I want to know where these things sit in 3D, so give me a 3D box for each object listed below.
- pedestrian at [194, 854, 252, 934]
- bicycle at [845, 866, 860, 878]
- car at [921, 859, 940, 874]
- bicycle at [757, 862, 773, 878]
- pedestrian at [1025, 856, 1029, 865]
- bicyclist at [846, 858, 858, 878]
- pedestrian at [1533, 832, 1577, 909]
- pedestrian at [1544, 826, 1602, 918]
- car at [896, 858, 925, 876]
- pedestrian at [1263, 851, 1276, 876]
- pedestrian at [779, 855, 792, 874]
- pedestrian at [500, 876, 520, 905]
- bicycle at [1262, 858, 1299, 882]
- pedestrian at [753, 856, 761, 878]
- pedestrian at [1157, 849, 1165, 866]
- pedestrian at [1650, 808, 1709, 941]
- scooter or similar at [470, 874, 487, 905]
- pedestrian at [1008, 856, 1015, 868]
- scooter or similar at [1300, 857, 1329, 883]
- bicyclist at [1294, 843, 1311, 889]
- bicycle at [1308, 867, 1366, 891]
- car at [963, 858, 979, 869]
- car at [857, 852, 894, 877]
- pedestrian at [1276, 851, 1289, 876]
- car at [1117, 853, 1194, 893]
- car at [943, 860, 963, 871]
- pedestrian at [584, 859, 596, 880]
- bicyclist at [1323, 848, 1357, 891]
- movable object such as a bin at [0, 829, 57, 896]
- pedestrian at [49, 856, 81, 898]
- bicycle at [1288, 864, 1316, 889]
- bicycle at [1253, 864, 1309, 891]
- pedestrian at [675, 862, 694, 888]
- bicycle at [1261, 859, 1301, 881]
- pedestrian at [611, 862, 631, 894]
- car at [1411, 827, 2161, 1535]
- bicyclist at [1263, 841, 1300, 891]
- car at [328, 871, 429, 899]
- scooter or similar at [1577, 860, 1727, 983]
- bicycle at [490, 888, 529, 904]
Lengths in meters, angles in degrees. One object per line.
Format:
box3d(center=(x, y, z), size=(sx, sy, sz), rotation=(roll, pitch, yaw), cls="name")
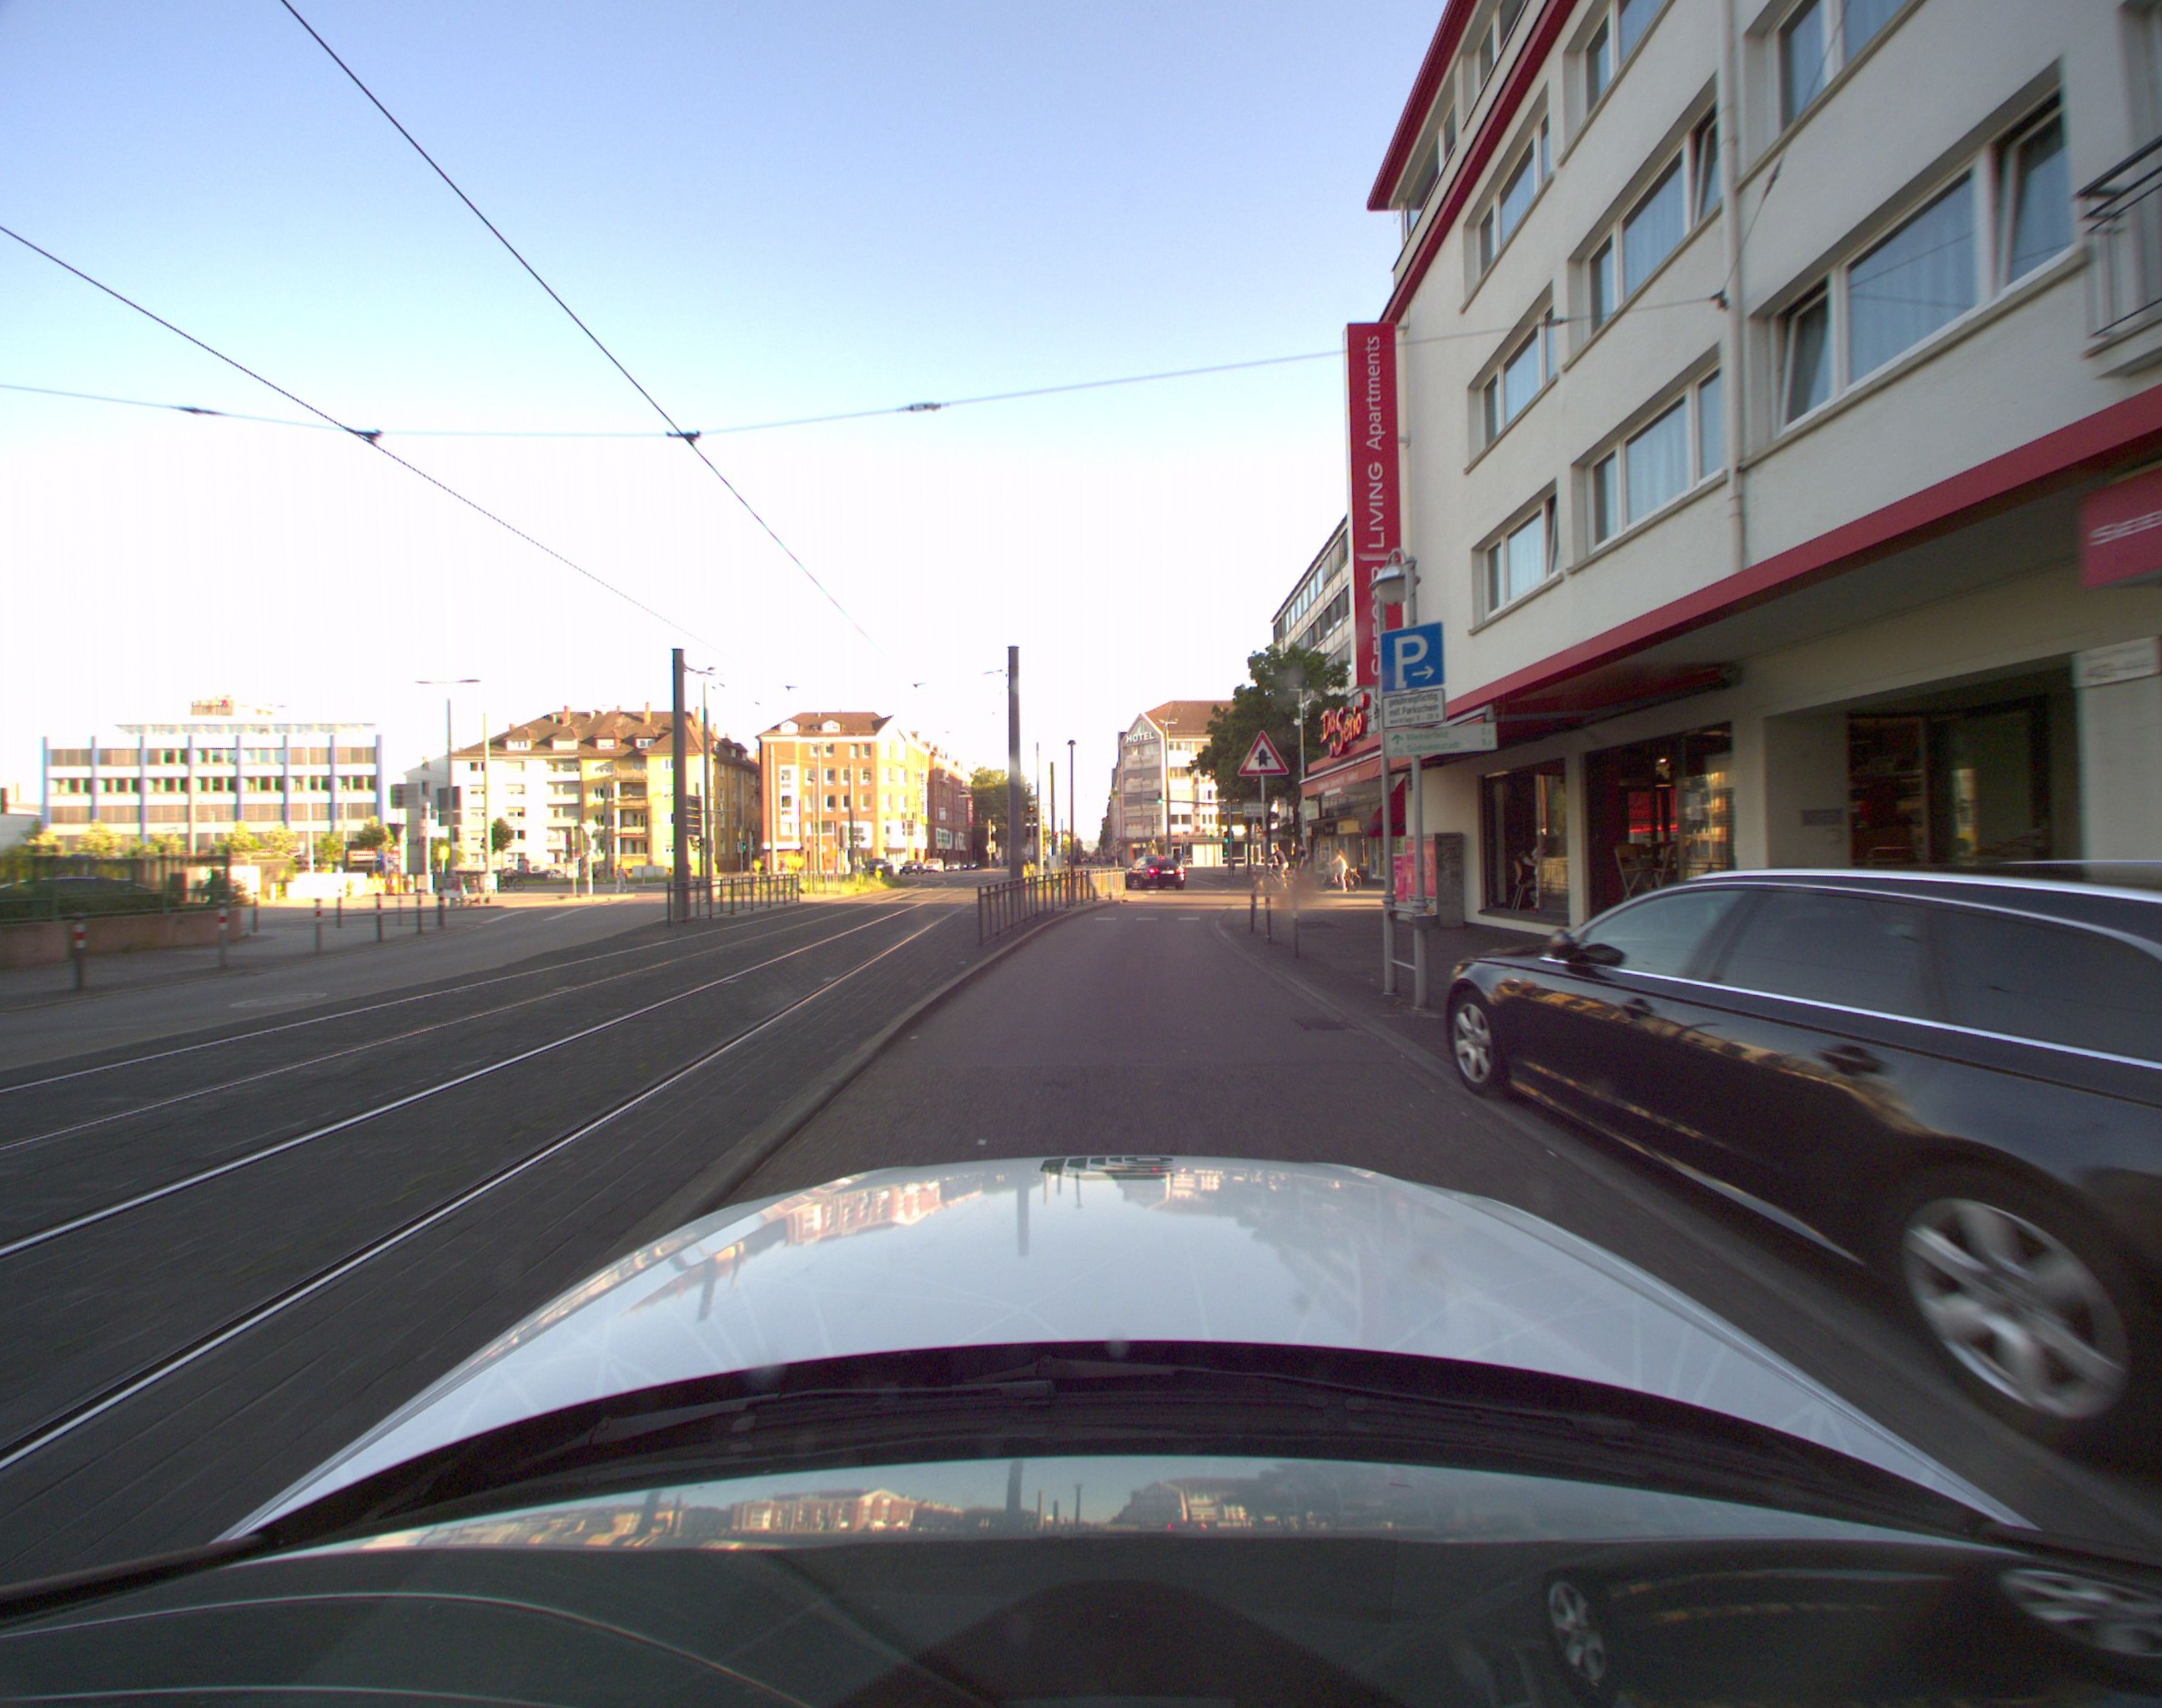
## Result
box3d(center=(-20.903, 0.950, 19.849), size=(0.720, 1.893, 0.770), rotation=(-1, 0, 24), cls="pedestrian")
box3d(center=(-20.125, 1.550, 71.612), size=(0.662, 1.008, 1.626), rotation=(-1, 0, 7), cls="bicycle")
box3d(center=(-17.037, 1.364, 92.276), size=(1.994, 1.585, 4.098), rotation=(-1, 0, -11), cls="car")
box3d(center=(-27.153, 1.369, 70.017), size=(0.616, 1.325, 2.013), rotation=(1, 0, -3), cls="bicycle")
box3d(center=(-10.755, 1.248, 162.550), size=(0.720, 1.681, 0.992), rotation=(-1, 0, 3), cls="pedestrian")
box3d(center=(-20.119, 1.203, 71.654), size=(0.659, 1.688, 0.981), rotation=(-1, 0, 7), cls="bicyclist")
box3d(center=(7.771, 0.263, 13.349), size=(0.498, 1.217, 0.526), rotation=(-1, -1, 43), cls="pedestrian")
box3d(center=(7.463, 0.264, 12.366), size=(0.521, 1.359, 0.503), rotation=(-1, 0, -10), cls="pedestrian")
box3d(center=(-16.607, 1.254, 79.511), size=(1.988, 1.585, 4.584), rotation=(-1, 0, -1), cls="car")
box3d(center=(12.636, 0.624, 54.564), size=(0.681, 1.667, 0.672), rotation=(-1, -1, 4), cls="pedestrian")
box3d(center=(-29.353, 1.011, 80.906), size=(0.939, 1.868, 0.836), rotation=(1, 0, -8), cls="pedestrian")
box3d(center=(-39.681, 2.526, 56.593), size=(0.844, 1.910, 0.892), rotation=(-1, 0, -10), cls="pedestrian")
box3d(center=(10.682, 0.870, 43.723), size=(1.891, 1.235, 0.670), rotation=(-1, 0, 11), cls="bicycle")
box3d(center=(-27.717, 1.074, 69.669), size=(0.501, 1.868, 0.562), rotation=(1, 0, -4), cls="pedestrian")
box3d(center=(9.061, 0.418, 92.198), size=(0.683, 1.854, 0.670), rotation=(-1, -1, -3), cls="pedestrian")
box3d(center=(8.219, 0.276, 11.191), size=(0.607, 1.760, 0.520), rotation=(-1, -1, -44), cls="pedestrian")
box3d(center=(-25.538, 1.491, 34.497), size=(0.520, 1.272, 1.242), rotation=(-1, 0, -39), cls="scooter or similar")
box3d(center=(-11.808, 1.295, 138.195), size=(0.985, 2.014, 0.726), rotation=(0, -1, -1), cls="pedestrian")
box3d(center=(10.975, 0.756, 38.326), size=(1.262, 1.235, 0.340), rotation=(-1, 0, 43), cls="scooter or similar")
box3d(center=(9.025, 0.480, 33.164), size=(0.464, 1.830, 0.558), rotation=(-1, 0, -7), cls="bicyclist")
box3d(center=(9.721, 0.957, 30.946), size=(1.988, 0.881, 0.845), rotation=(-1, -1, 24), cls="bicycle")
box3d(center=(-17.023, 1.513, 125.884), size=(1.988, 1.585, 4.476), rotation=(-1, 0, -1), cls="car")
box3d(center=(-17.199, 0.858, 68.469), size=(1.988, 1.901, 4.808), rotation=(-1, 0, -2), cls="car")
box3d(center=(13.572, 0.657, 54.879), size=(0.720, 1.667, 0.672), rotation=(-1, -1, 4), cls="pedestrian")
box3d(center=(3.150, 0.785, 35.378), size=(1.998, 1.585, 3.977), rotation=(-2, 0, -17), cls="car")
box3d(center=(-17.439, 1.570, 111.175), size=(1.660, 1.448, 4.210), rotation=(-1, 0, 7), cls="car")
box3d(center=(-43.433, 1.359, 72.056), size=(0.721, 1.868, 0.879), rotation=(-1, 0, -19), cls="pedestrian")
box3d(center=(9.818, 0.580, 30.903), size=(1.101, 1.623, 0.845), rotation=(-1, 0, 24), cls="bicyclist")
box3d(center=(-52.877, 0.417, 38.981), size=(1.979, 3.229, 4.361), rotation=(-1, 0, 15), cls="movable object such as a bin")
box3d(center=(-40.230, 0.910, 32.264), size=(0.535, 1.659, 0.596), rotation=(-1, 0, -19), cls="pedestrian")
box3d(center=(9.012, 0.886, 33.302), size=(0.464, 0.970, 1.796), rotation=(-1, 0, -7), cls="bicycle")
box3d(center=(7.855, 0.902, 32.052), size=(0.844, 1.020, 2.054), rotation=(-1, 0, -36), cls="bicycle")
box3d(center=(-30.304, 1.571, 62.263), size=(1.100, 1.944, 1.018), rotation=(-1, 0, -18), cls="pedestrian")
box3d(center=(10.484, 0.841, 42.758), size=(1.982, 1.110, 0.670), rotation=(-1, 0, 13), cls="bicycle")
box3d(center=(-28.040, 1.456, 49.668), size=(0.885, 1.868, 0.970), rotation=(-1, 0, -20), cls="pedestrian")
box3d(center=(3.210, 0.696, 3.428), size=(1.729, 1.512, 4.686), rotation=(-3, 0, 1), cls="car")
box3d(center=(7.875, 0.458, 32.002), size=(0.844, 1.917, 1.102), rotation=(-1, 0, -36), cls="bicyclist")
box3d(center=(-45.987, 2.009, 53.418), size=(4.569, 1.618, 1.985), rotation=(-1, 0, -22), cls="car")
box3d(center=(6.035, 0.675, 8.662), size=(0.358, 1.202, 1.235), rotation=(-1, 0, -37), cls="scooter or similar")
box3d(center=(-39.674, 2.916, 56.591), size=(2.004, 1.060, 0.892), rotation=(-1, 0, -11), cls="bicycle")
